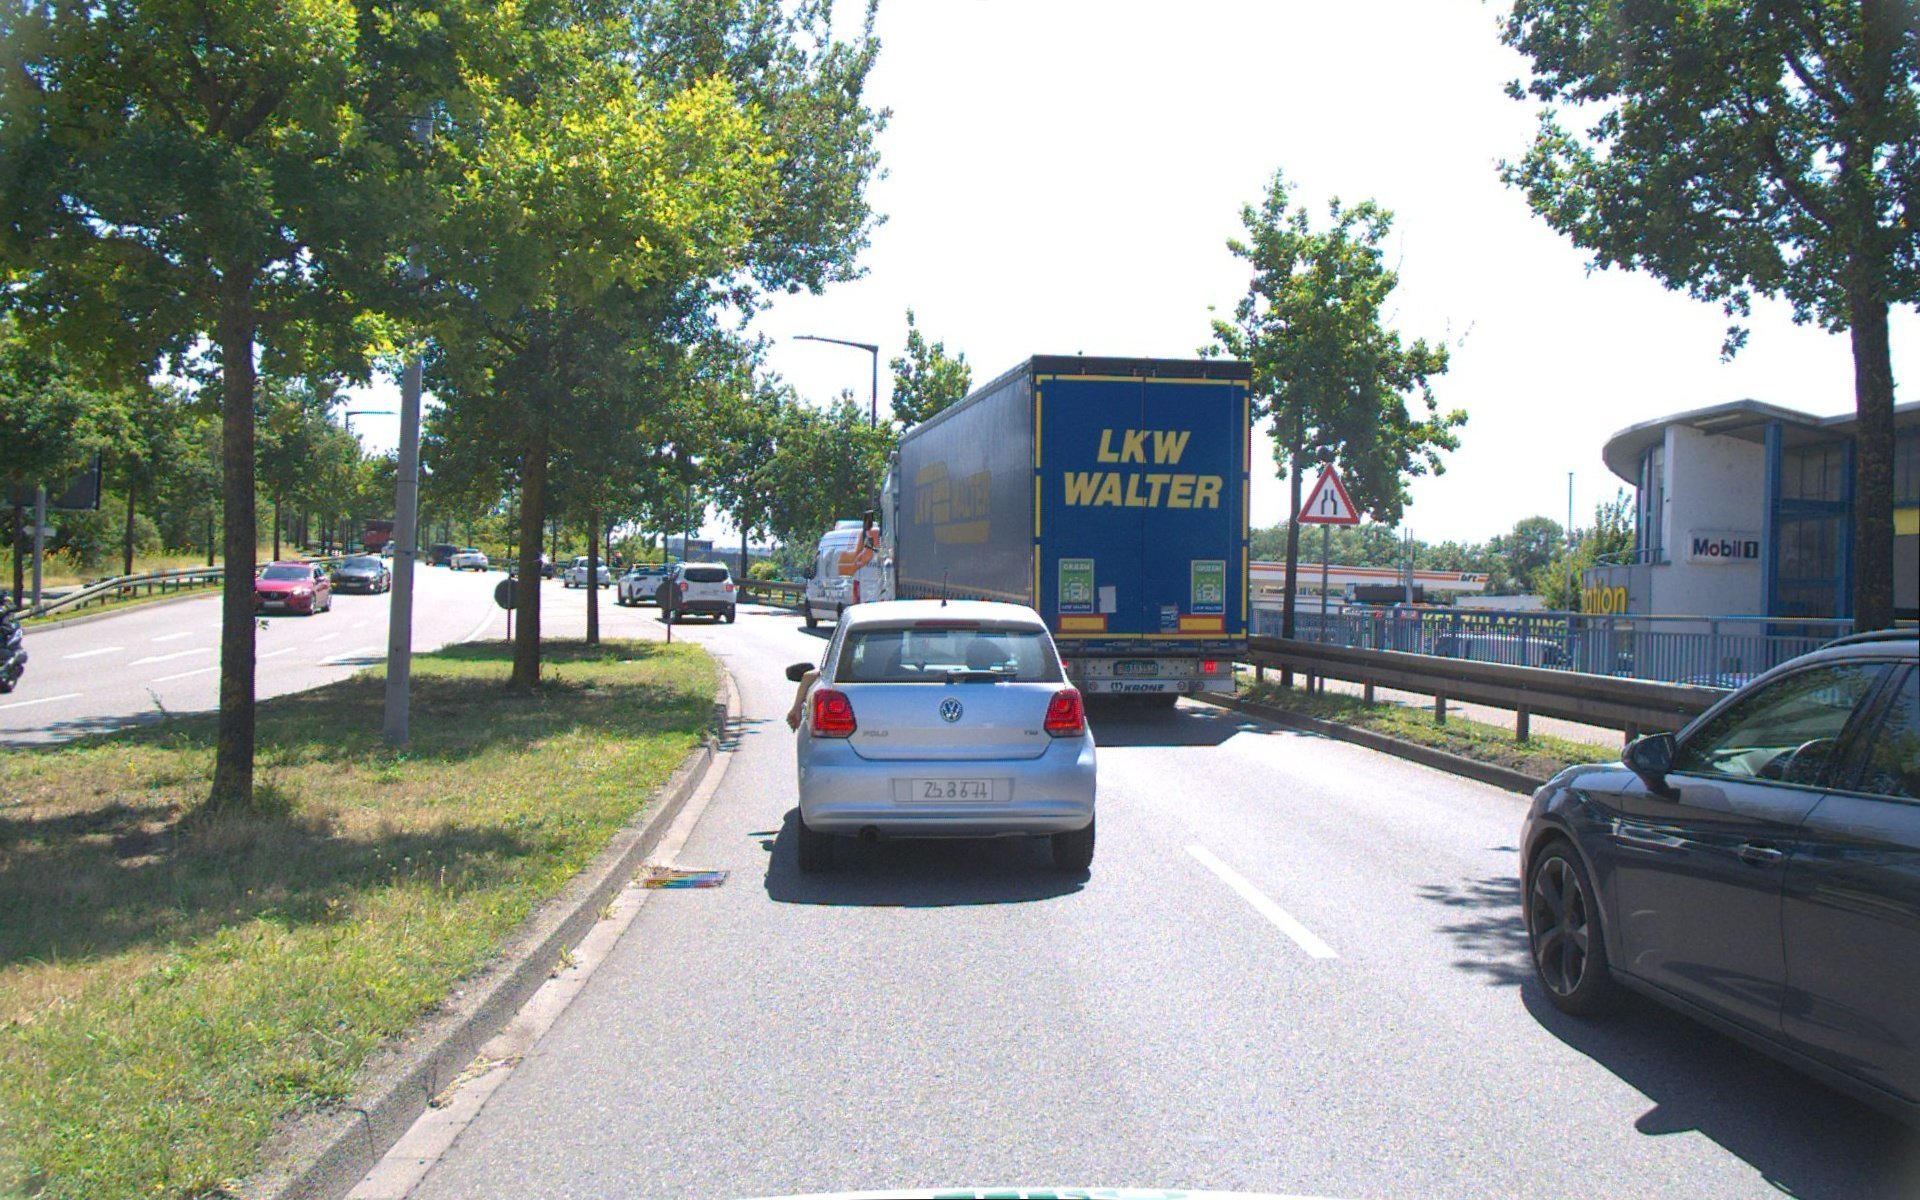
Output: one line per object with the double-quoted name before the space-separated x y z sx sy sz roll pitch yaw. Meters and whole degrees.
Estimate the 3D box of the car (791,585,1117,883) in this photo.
"car" -0.048 0.685 10.084 1.612 1.464 3.536 1 0 -1

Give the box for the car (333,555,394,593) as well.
"car" -23.213 -0.976 64.456 1.779 1.357 4.552 1 0 -14

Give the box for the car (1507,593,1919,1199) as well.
"car" 3.108 0.742 4.537 1.573 1.481 4.232 1 0 -4

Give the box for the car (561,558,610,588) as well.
"car" -17.944 -1.282 79.203 1.587 1.383 3.635 1 0 -24

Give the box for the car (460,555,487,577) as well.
"car" -31.181 -2.162 105.971 1.435 1.337 3.617 1 0 -19

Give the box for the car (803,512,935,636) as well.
"car" -2.492 -0.721 43.157 2.140 2.951 6.333 1 1 -15

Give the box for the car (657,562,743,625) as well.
"car" -7.685 -0.176 48.568 1.873 1.748 4.202 1 0 -18

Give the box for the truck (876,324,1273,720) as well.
"truck" 0.869 -0.913 26.303 2.780 4.271 16.443 1 0 -8

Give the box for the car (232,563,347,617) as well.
"car" -19.533 -0.270 48.393 1.795 1.462 4.521 -1 0 -5

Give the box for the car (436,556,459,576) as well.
"car" -36.292 -2.416 117.161 1.396 1.337 3.318 1 0 -19

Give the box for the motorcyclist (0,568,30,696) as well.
"motorcyclist" -12.625 0.417 21.664 0.576 1.655 0.561 1 -1 -9

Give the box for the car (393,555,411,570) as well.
"car" -46.234 -3.075 136.997 1.302 1.158 2.977 1 0 -20

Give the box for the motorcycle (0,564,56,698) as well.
"motorcycle" -12.618 0.388 21.643 0.587 1.707 2.419 1 0 -10

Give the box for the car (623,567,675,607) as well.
"car" -11.178 -0.477 59.273 1.470 1.383 3.646 1 0 -16

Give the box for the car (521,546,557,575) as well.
"car" -23.819 -2.210 93.519 1.640 1.490 3.561 1 0 -19
